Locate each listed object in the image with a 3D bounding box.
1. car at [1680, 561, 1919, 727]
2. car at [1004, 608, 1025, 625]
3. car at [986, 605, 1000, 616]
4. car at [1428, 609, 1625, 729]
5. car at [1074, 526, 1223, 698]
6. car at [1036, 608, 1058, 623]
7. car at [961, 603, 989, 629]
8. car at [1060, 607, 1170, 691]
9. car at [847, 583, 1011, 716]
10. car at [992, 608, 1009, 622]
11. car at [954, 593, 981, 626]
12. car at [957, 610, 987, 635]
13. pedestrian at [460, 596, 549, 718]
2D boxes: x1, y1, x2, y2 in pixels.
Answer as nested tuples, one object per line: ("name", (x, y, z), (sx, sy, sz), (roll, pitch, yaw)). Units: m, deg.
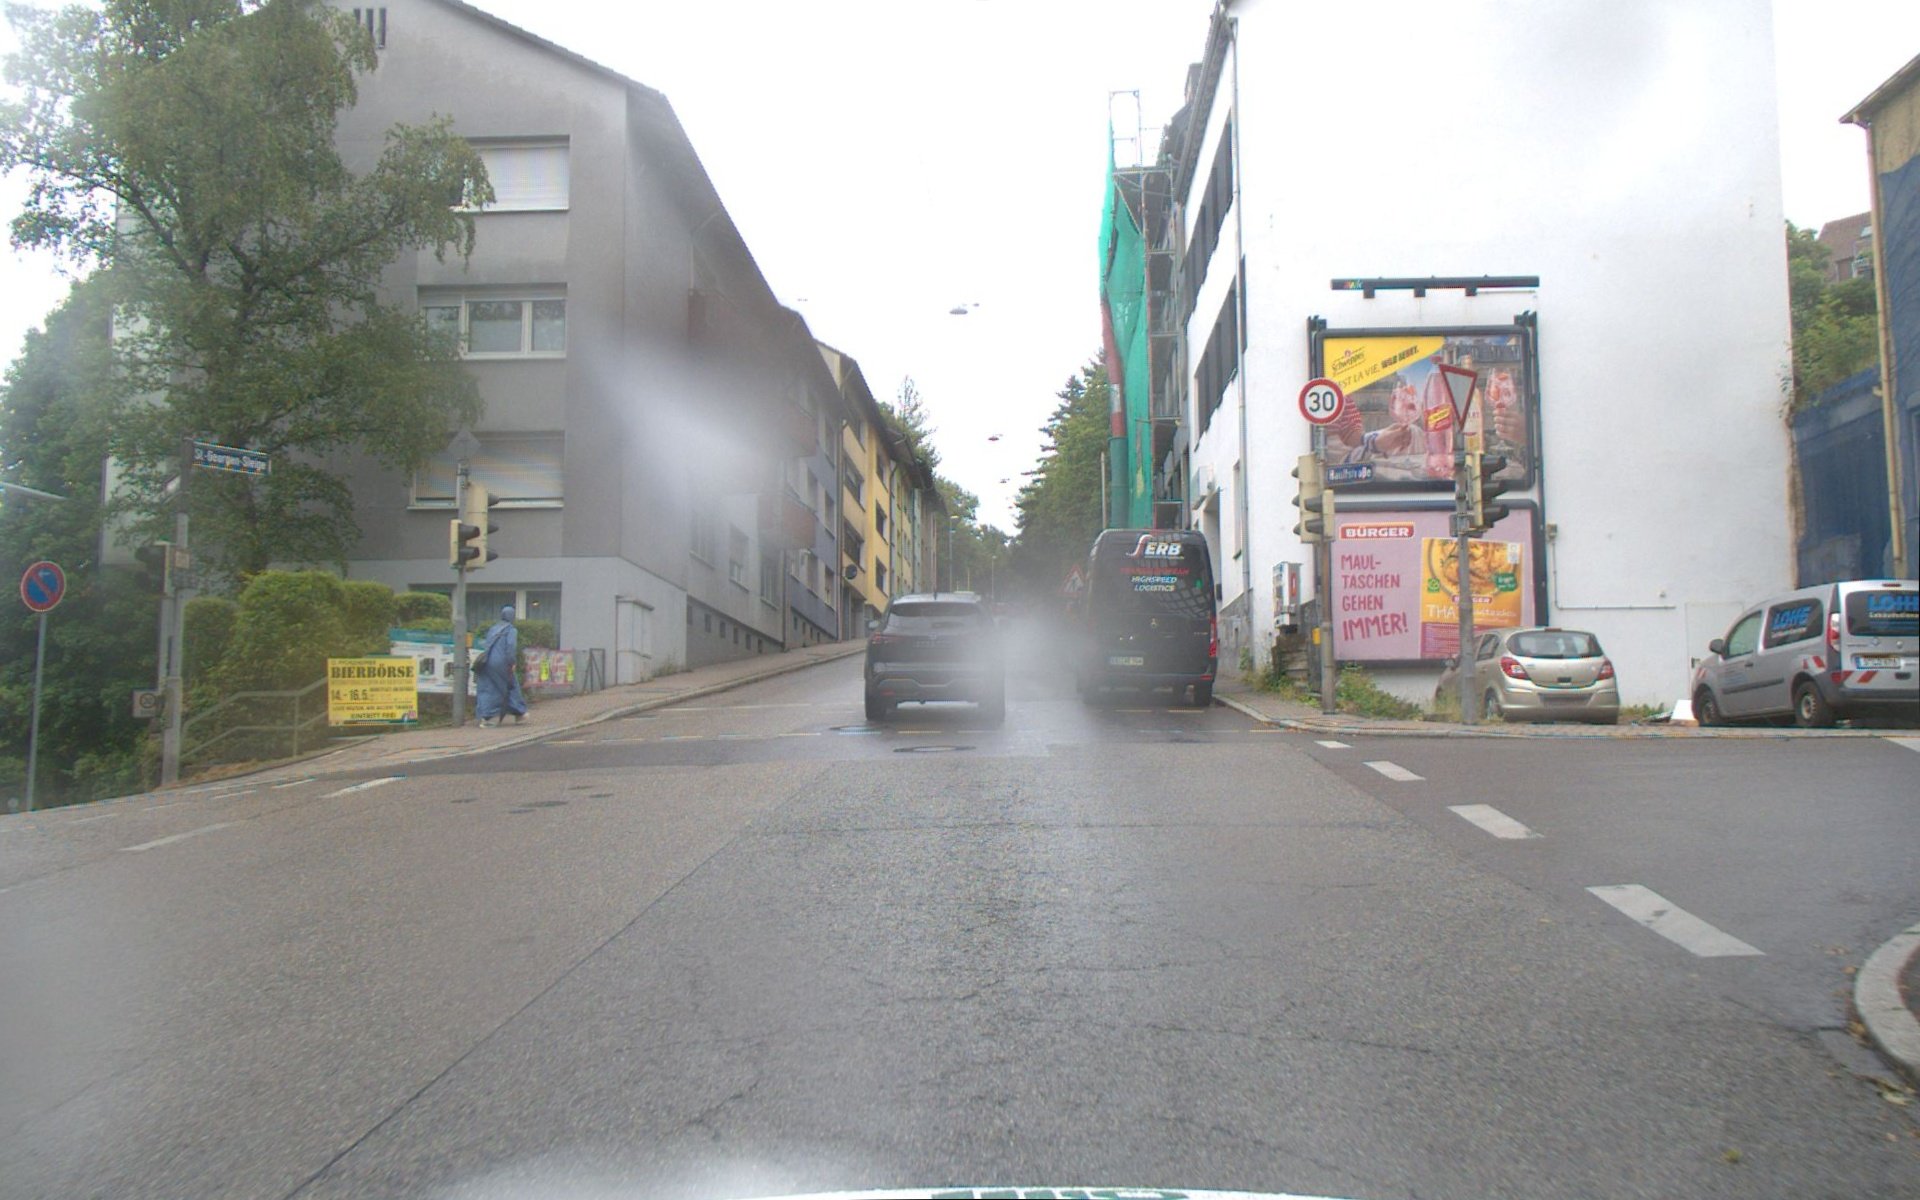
("car", (11.152, 0.608, 21.664), (1.692, 1.946, 4.241), (1, -2, 1))
("car", (5.322, 1.612, 162.050), (2.032, 1.587, 4.000), (0, 0, 1))
("car", (4.993, 1.523, 248.876), (2.031, 1.587, 4.001), (0, 0, 1))
("car", (8.044, 0.918, 23.827), (1.529, 1.510, 4.001), (1, 0, 1))
("car", (2.926, 0.285, 26.783), (1.952, 2.456, 5.837), (1, -2, 2))
("car", (9.150, 1.643, 173.629), (2.032, 1.587, 3.999), (0, 0, -1))
("car", (1.098, 1.163, 121.007), (1.949, 1.786, 4.481), (-1, 0, 1))
("car", (3.046, 0.945, 33.234), (1.952, 1.539, 4.338), (1, -1, 2))
("car", (-0.318, 0.584, 22.158), (1.952, 1.587, 4.001), (1, 0, 2))
("car", (4.735, 1.761, 194.875), (2.031, 1.587, 4.001), (0, 0, 1))
("car", (0.600, 0.696, 130.491), (1.949, 2.518, 5.785), (-1, 0, 1))
("car", (0.817, 1.531, 113.224), (1.949, 1.613, 4.306), (-1, 0, 1))
("pedestrian", (-6.063, 0.760, 22.074), (0.851, 1.568, 1.087), (1, -2, -1))
